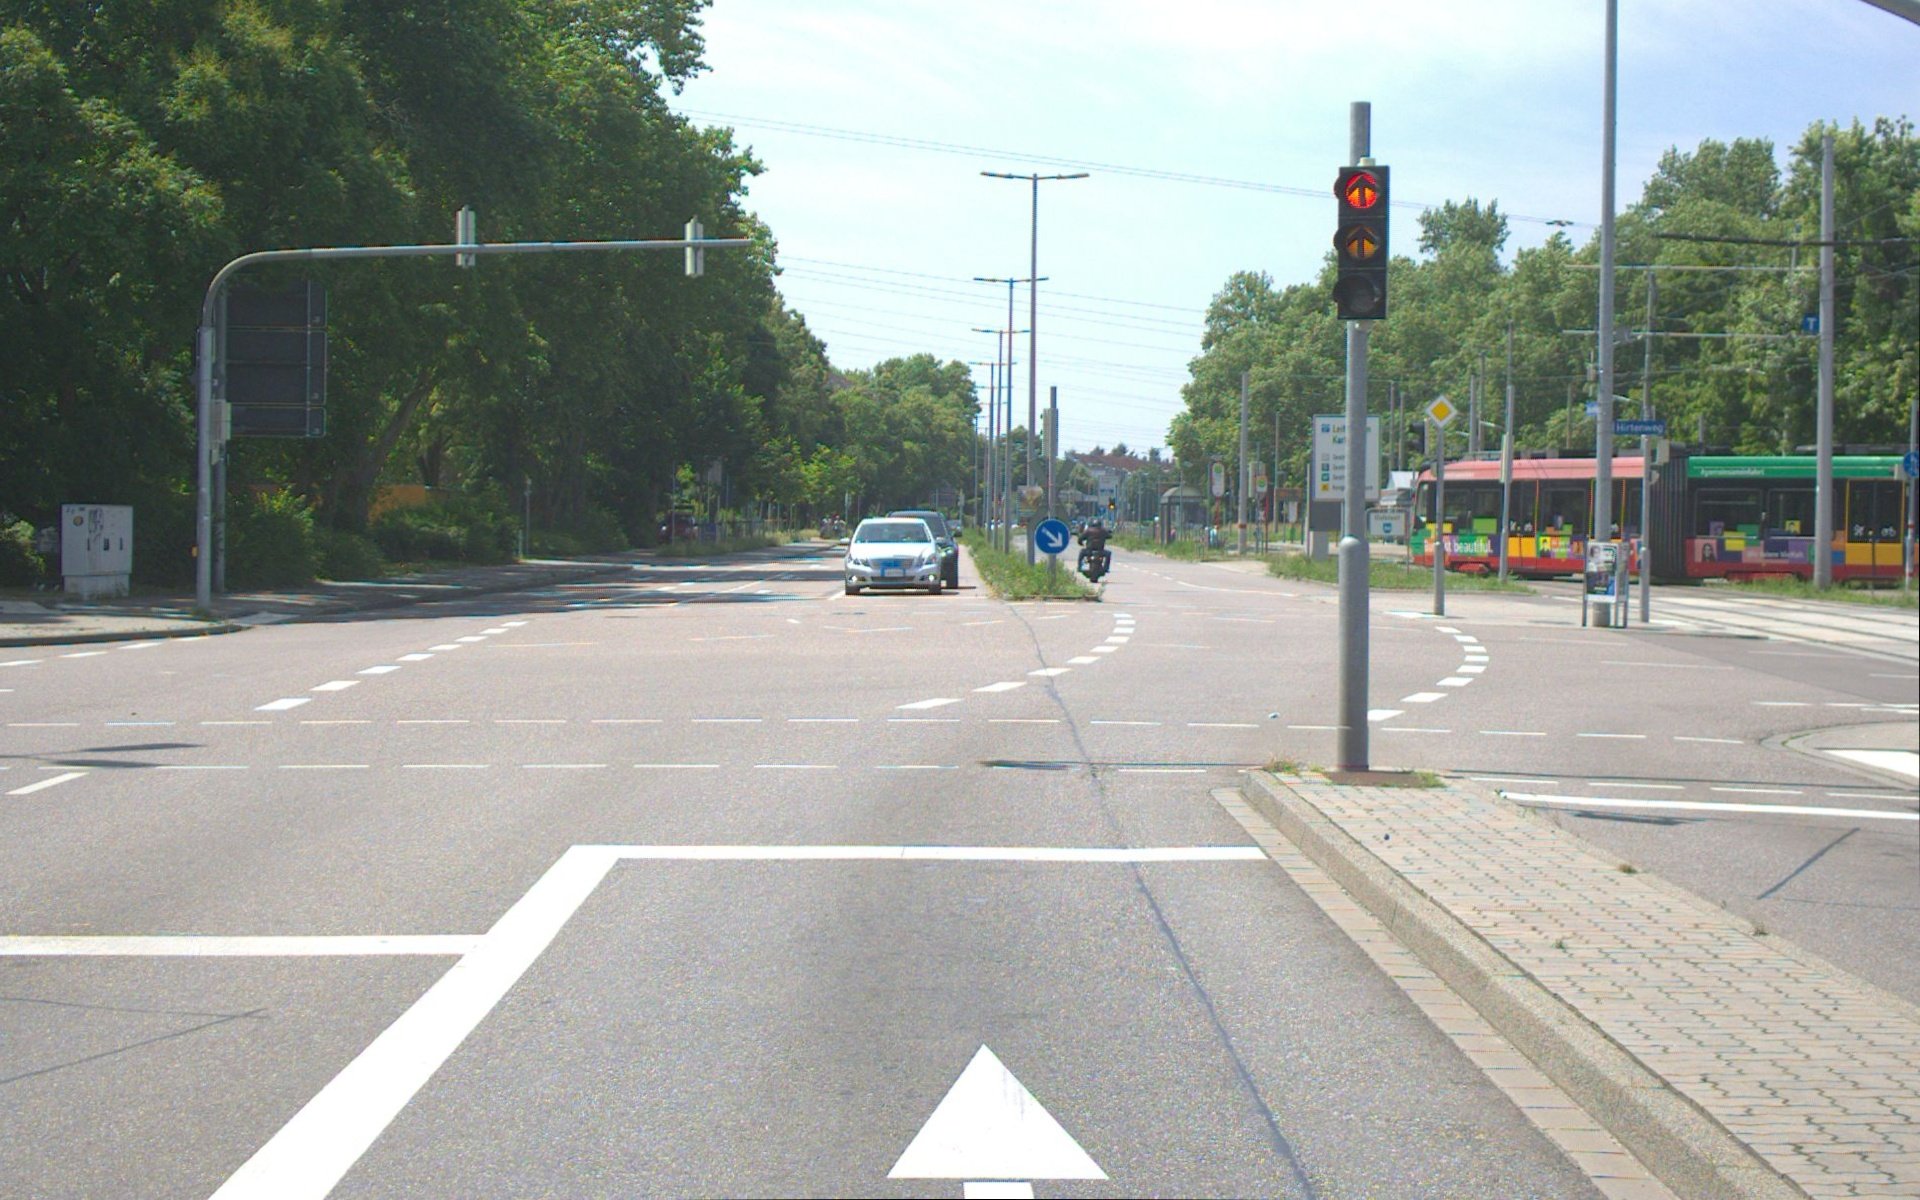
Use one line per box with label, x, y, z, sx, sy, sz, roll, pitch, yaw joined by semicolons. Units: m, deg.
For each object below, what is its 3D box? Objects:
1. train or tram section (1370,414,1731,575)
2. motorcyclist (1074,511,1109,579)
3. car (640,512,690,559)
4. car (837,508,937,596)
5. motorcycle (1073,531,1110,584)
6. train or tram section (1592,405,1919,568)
train or tram section;15.813;-2.733;93.704;2.913;3.799;13.077;2;-1;-23
motorcyclist;3.225;-1.360;84.214;0.790;1.637;1.211;2;1;1
car;-13.440;-2.944;156.925;1.993;2.007;4.001;4;1;-3
car;-1.374;-0.949;66.035;1.784;1.623;3.865;1;2;1
motorcycle;3.213;-1.057;84.293;0.847;1.251;2.449;2;1;1
train or tram section;22.305;-2.747;84.755;13.444;3.799;2.916;1;-2;40
